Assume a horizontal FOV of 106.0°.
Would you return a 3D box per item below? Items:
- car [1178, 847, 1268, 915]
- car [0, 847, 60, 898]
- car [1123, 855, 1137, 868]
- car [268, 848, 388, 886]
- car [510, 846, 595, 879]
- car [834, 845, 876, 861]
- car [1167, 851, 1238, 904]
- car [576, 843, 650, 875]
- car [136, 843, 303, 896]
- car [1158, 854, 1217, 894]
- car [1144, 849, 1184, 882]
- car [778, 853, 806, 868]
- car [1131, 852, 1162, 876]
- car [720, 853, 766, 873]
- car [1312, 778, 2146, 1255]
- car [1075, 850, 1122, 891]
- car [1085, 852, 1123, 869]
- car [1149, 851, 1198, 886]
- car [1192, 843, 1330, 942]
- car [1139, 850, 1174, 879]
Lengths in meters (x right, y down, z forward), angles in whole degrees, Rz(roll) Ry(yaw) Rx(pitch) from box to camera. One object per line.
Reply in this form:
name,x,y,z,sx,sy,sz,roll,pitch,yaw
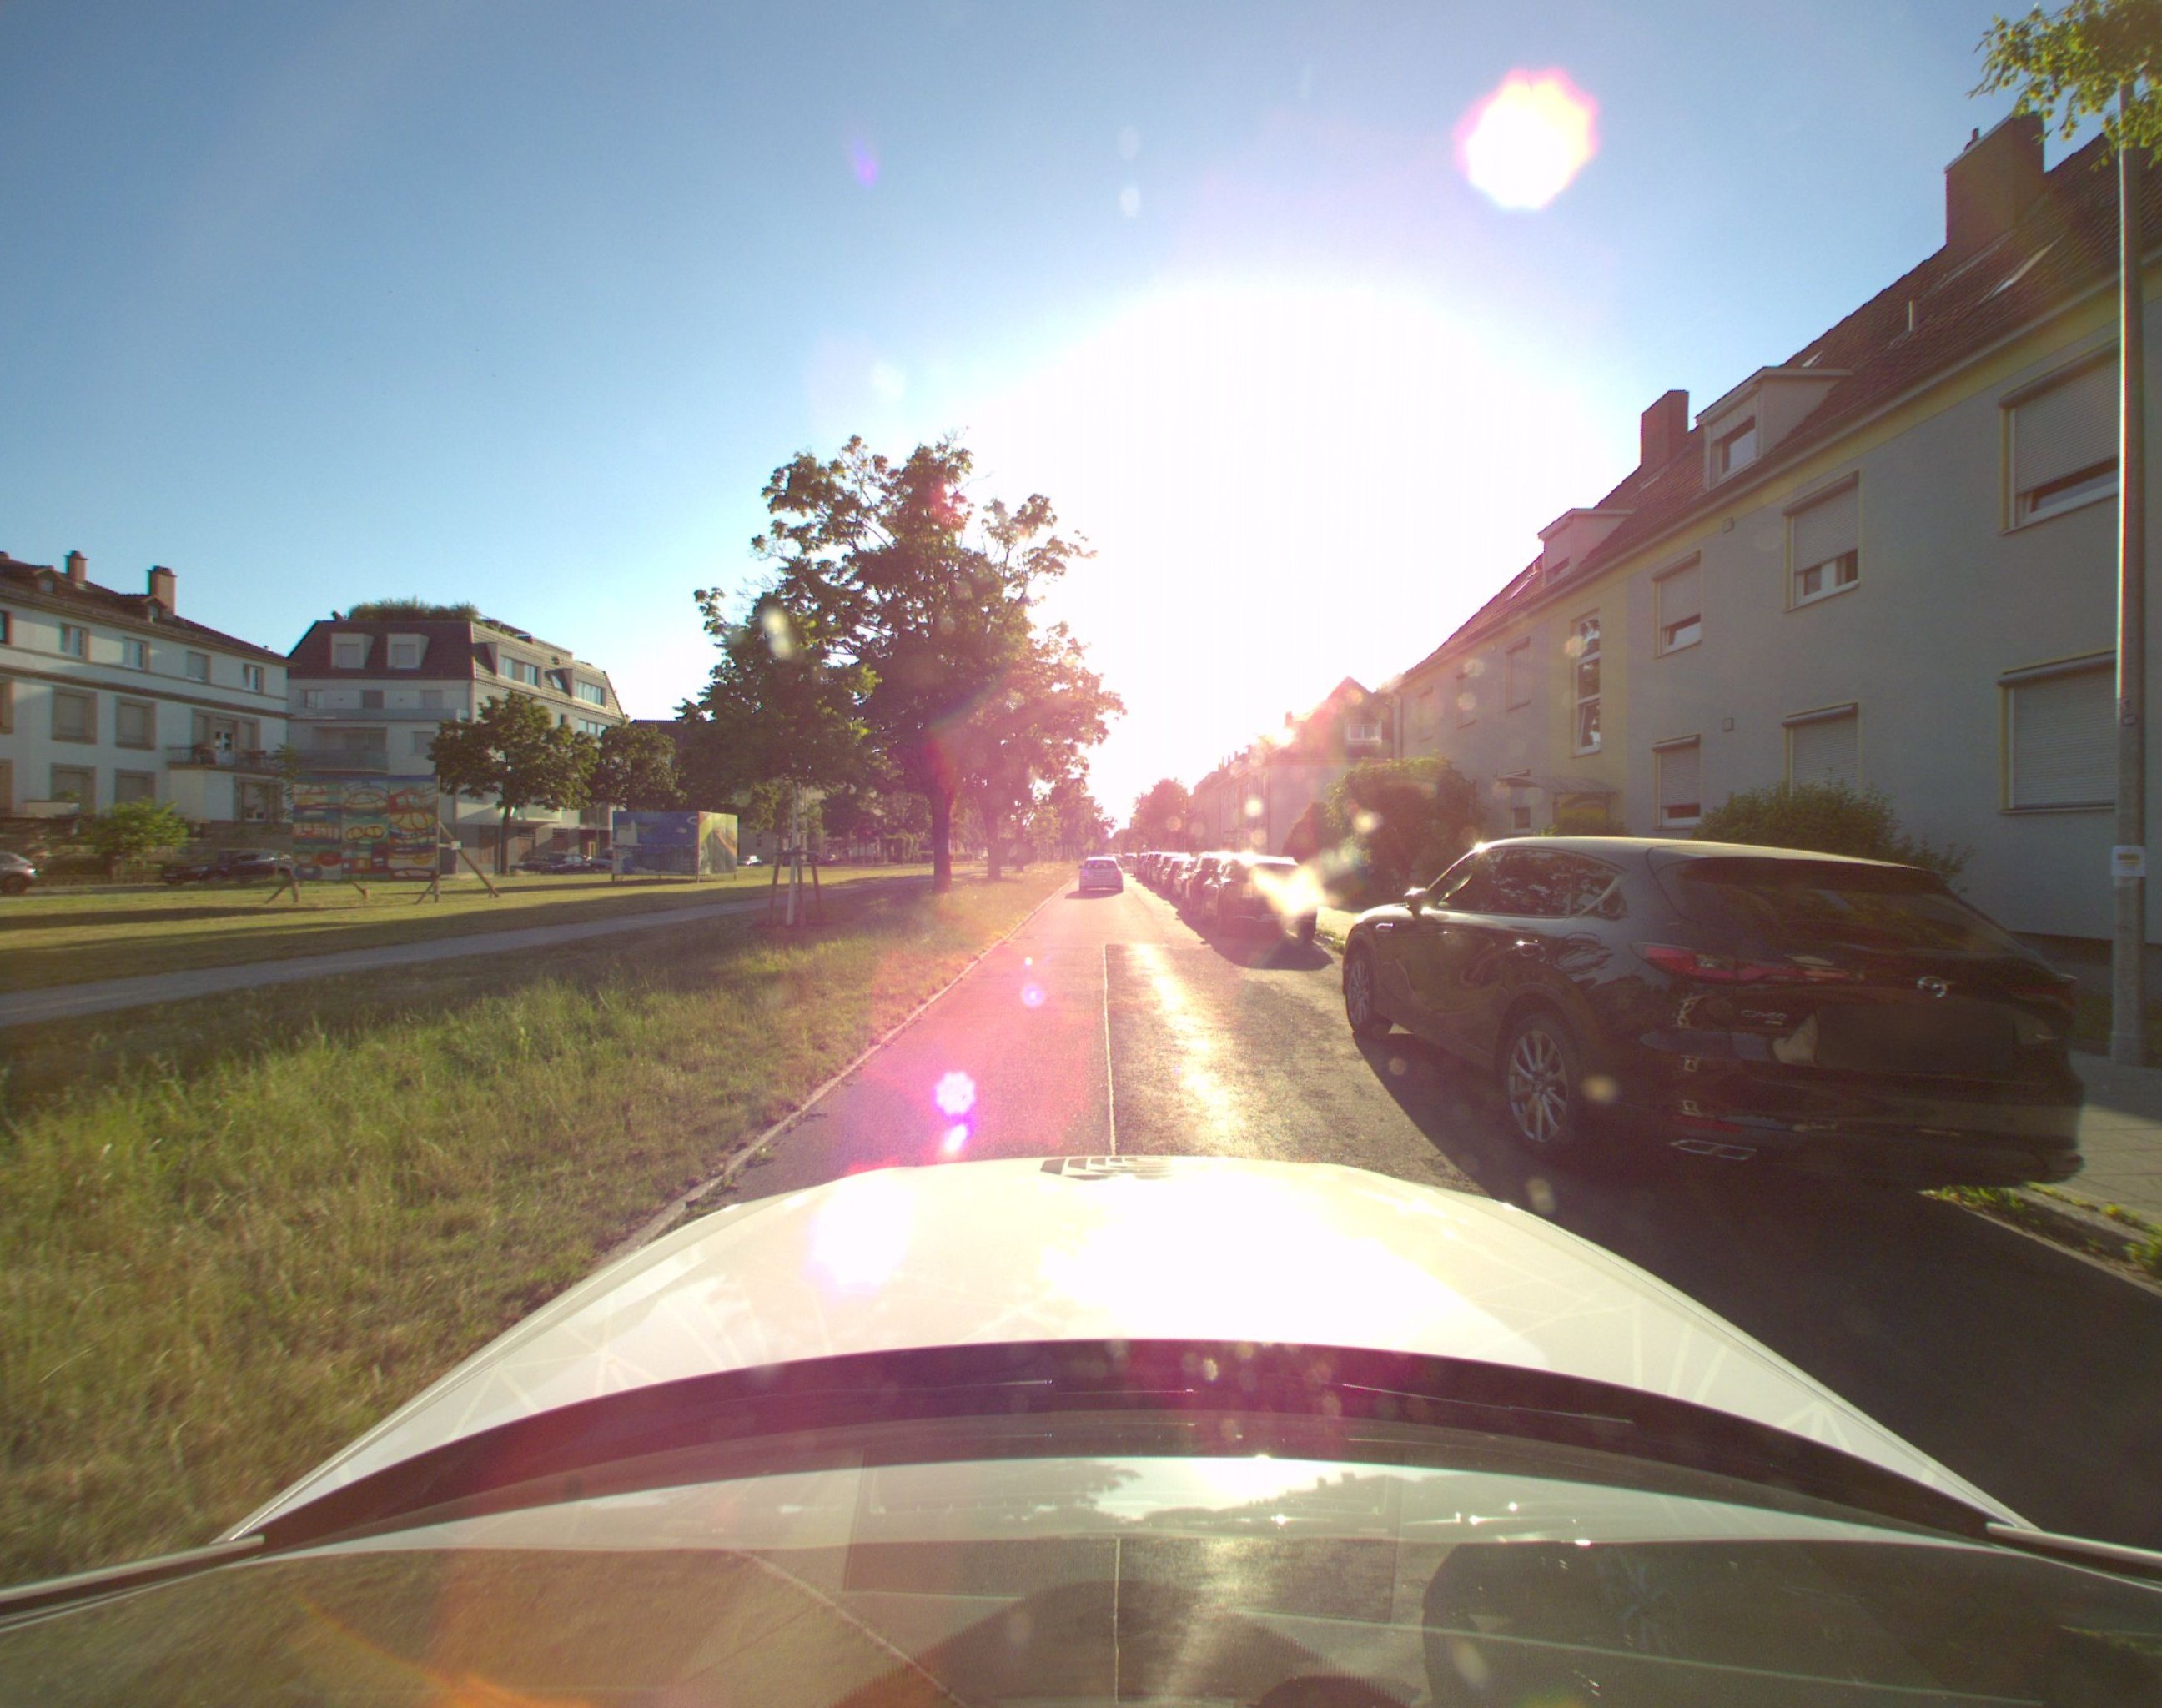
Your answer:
car,3.866,0.675,22.938,1.847,1.657,4.822,1,0,2
car,-38.642,0.653,27.727,1.775,1.703,4.668,-3,-1,2
car,6.188,0.995,103.638,1.715,1.597,4.002,0,-1,2
car,-38.550,0.689,41.861,1.814,1.744,4.462,-3,-1,3
car,-32.216,0.547,49.845,1.921,1.828,4.693,-3,-1,2
car,-37.672,-0.158,135.831,6.332,2.720,1.984,0,0,-29
car,4.108,0.793,28.192,1.722,1.548,4.206,5,-1,0
car,-32.215,0.411,56.278,2.013,2.001,5.367,-3,-1,-2
car,-38.799,0.692,36.899,2.229,2.131,4.857,-3,-1,3
car,4.244,0.759,33.138,1.985,1.462,4.565,2,0,3
car,4.415,0.625,44.127,1.759,1.635,4.765,2,-1,1
car,-36.148,0.840,101.914,1.636,1.707,4.297,-3,-1,3
car,4.793,0.684,59.757,1.712,1.639,4.561,2,0,-2
car,-31.619,0.853,76.327,1.975,1.637,4.832,-3,-1,3
car,3.199,0.649,5.632,1.826,1.732,5.033,3,-1,1
car,0.762,0.637,33.503,1.816,1.566,4.002,-1,0,2
car,2.505,0.727,88.463,3.873,1.596,2.003,-3,-1,6
car,4.268,0.646,38.317,1.720,1.561,4.414,1,0,-1
car,3.606,0.704,17.226,1.926,1.720,4.622,3,0,1
car,4.512,0.613,49.311,1.771,1.643,4.757,0,-1,1
